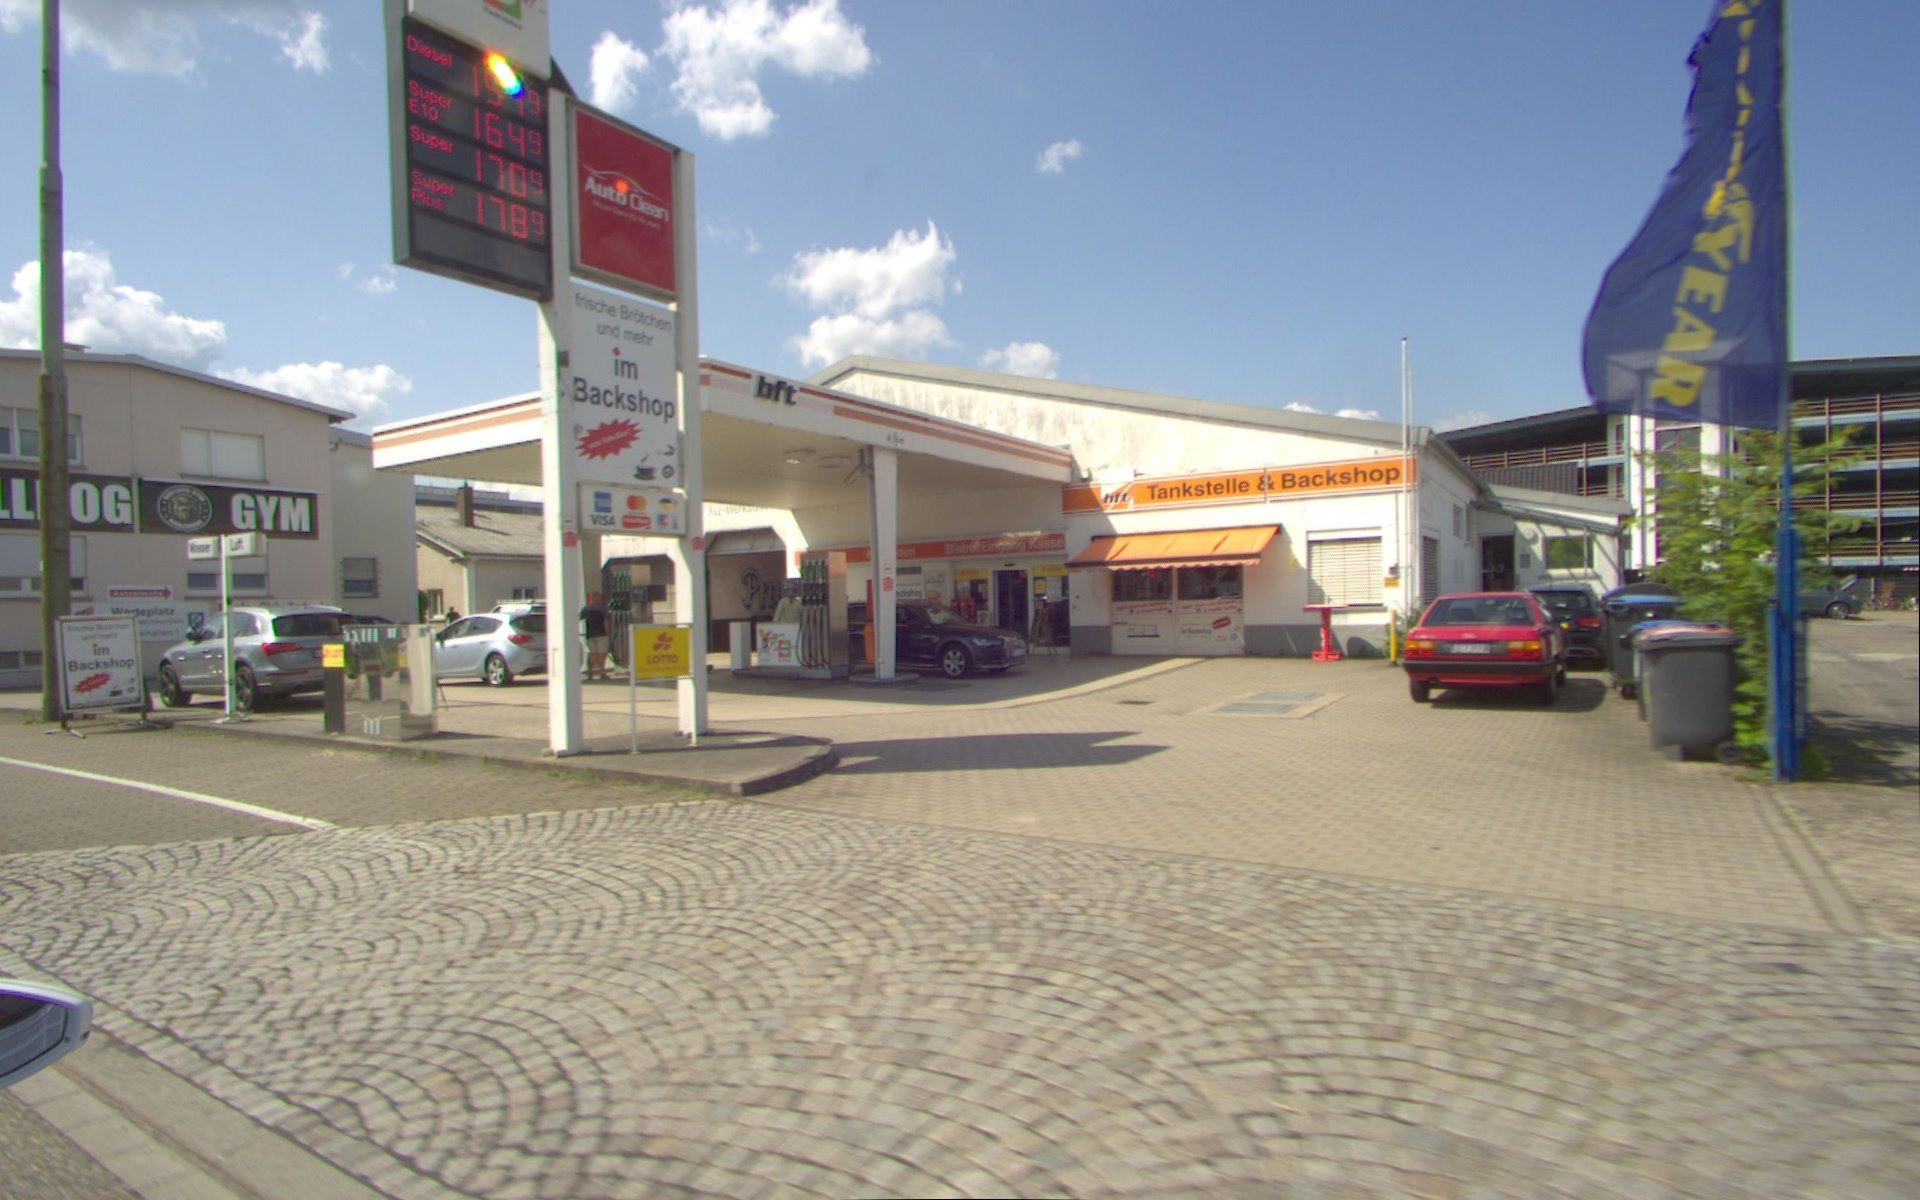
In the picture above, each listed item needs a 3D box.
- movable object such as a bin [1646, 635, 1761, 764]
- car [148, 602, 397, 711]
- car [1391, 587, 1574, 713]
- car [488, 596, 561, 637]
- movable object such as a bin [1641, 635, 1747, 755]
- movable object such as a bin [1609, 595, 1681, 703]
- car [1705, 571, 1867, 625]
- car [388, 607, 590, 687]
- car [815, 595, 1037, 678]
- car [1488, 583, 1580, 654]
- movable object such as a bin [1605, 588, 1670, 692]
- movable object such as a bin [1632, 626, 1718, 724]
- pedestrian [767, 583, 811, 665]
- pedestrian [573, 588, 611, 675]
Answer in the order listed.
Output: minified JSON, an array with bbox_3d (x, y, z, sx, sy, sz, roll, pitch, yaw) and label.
[{"bbox_3d":[6.193,0.806,8.375,0.696,1.023,0.579,-2,-2,32],"label":"movable object such as a bin"},{"bbox_3d":[-11.840,0.923,17.163,4.551,1.646,1.941,-2,-1,33],"label":"car"},{"bbox_3d":[7.329,0.584,13.832,1.748,1.443,4.122,-2,0,34],"label":"car"},{"bbox_3d":[-22.970,0.902,52.783,3.792,2.058,1.783,-2,-2,34],"label":"car"},{"bbox_3d":[6.536,0.825,8.948,0.696,1.023,0.579,-2,-2,32],"label":"movable object such as a bin"},{"bbox_3d":[8.636,0.613,12.646,0.696,1.313,0.579,-2,-2,32],"label":"movable object such as a bin"},{"bbox_3d":[34.311,-0.048,41.793,4.872,2.039,1.964,-2,-2,29],"label":"car"},{"bbox_3d":[-9.968,0.979,21.111,4.359,1.490,1.688,-2,0,31],"label":"car"},{"bbox_3d":[-0.752,0.670,20.581,4.429,1.540,1.678,0,1,34],"label":"car"},{"bbox_3d":[12.898,0.368,22.419,1.507,1.443,3.573,-2,0,34],"label":"car"},{"bbox_3d":[9.388,0.542,13.897,0.696,1.409,0.579,-1,1,31],"label":"movable object such as a bin"},{"bbox_3d":[7.754,0.802,10.884,0.696,1.023,0.579,-2,-2,32],"label":"movable object such as a bin"},{"bbox_3d":[-3.675,0.525,21.527,0.677,1.744,0.616,-2,-2,33],"label":"pedestrian"},{"bbox_3d":[-7.756,0.668,21.097,0.569,1.799,0.496,-1,-2,31],"label":"pedestrian"}]
